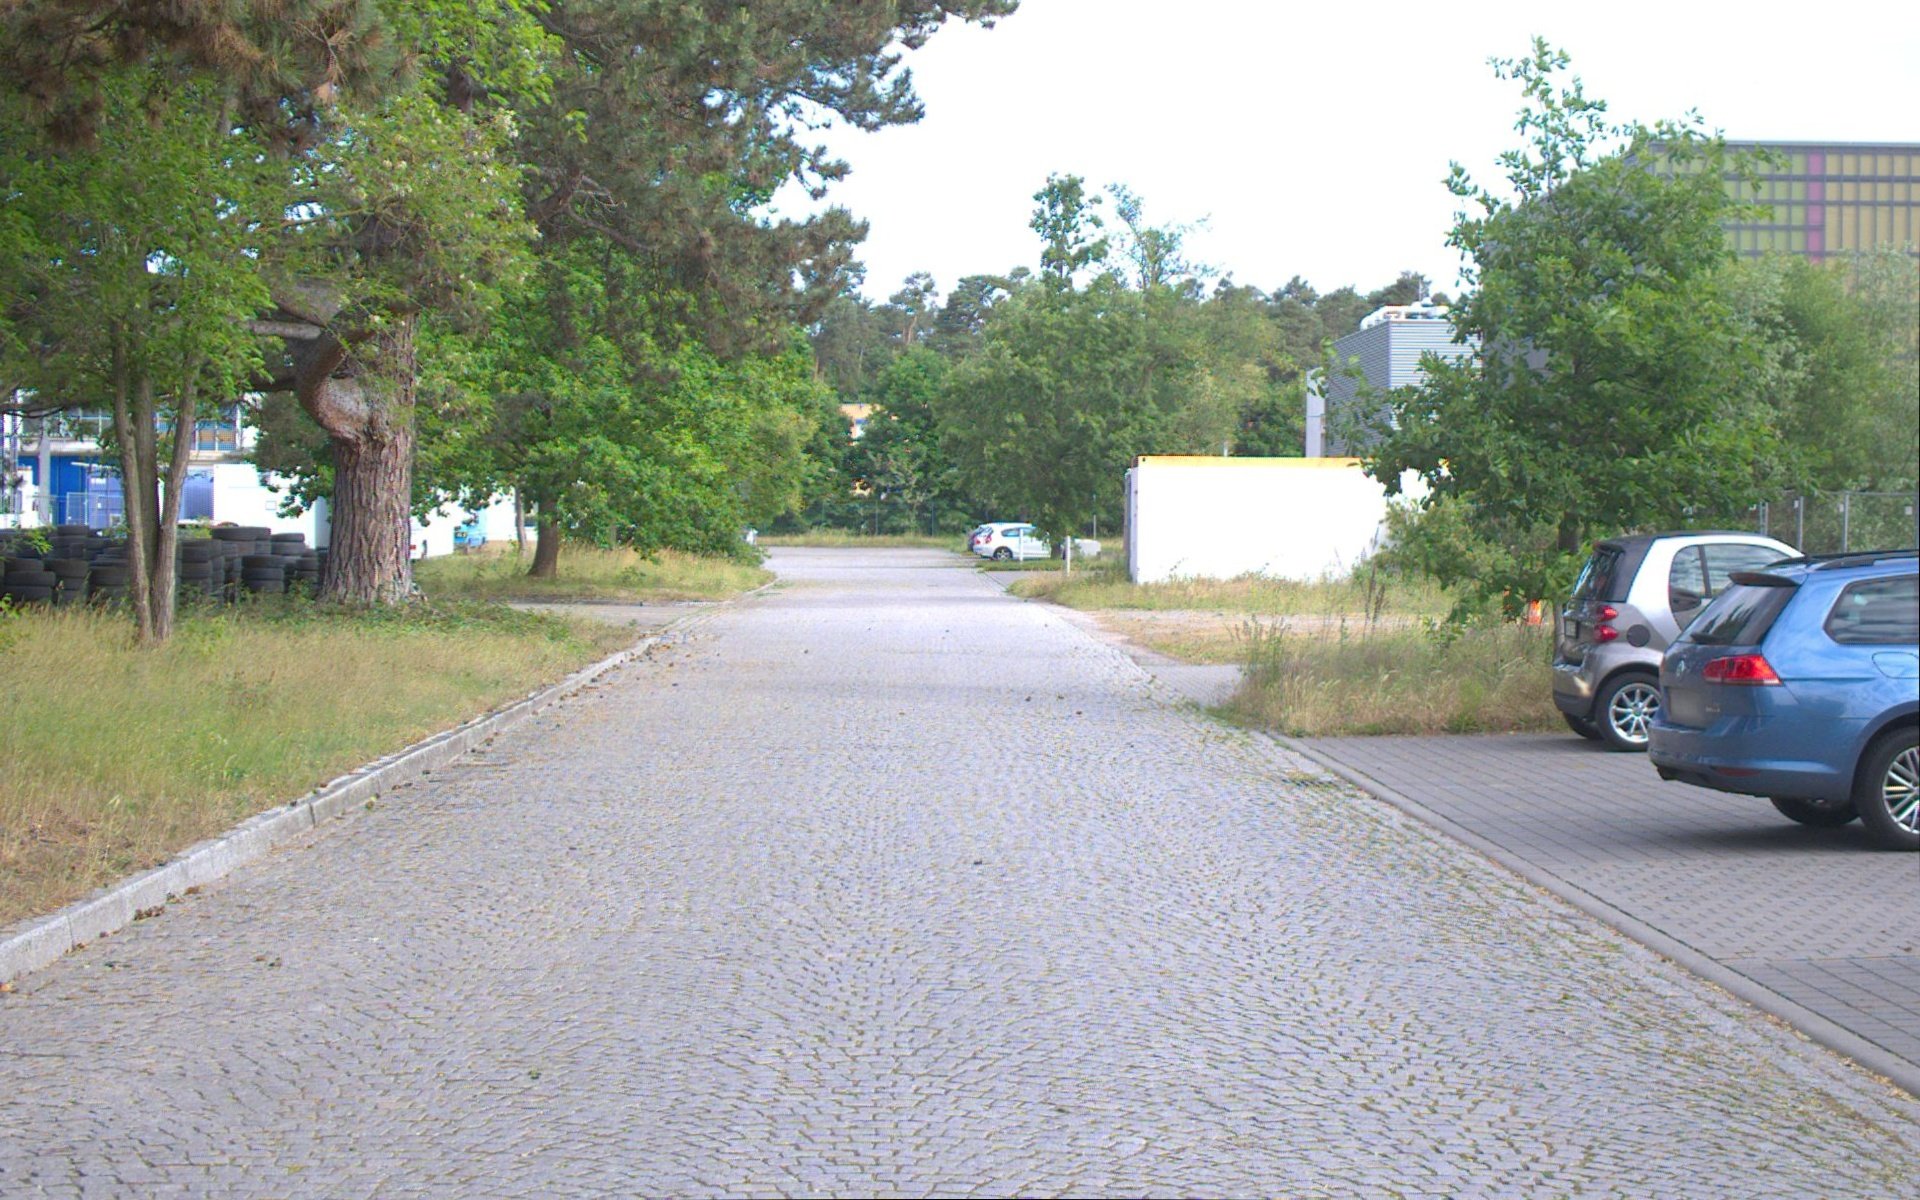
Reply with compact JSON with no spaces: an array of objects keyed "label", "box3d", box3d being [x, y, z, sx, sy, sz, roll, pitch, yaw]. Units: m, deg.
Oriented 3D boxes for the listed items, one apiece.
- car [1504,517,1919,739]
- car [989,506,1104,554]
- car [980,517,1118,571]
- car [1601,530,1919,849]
[{"label":"car","box3d":[6.434,0.165,25.308,4.517,1.526,2.000,-1,1,0]},{"label":"car","box3d":[3.313,-2.712,132.454,4.354,1.774,1.925,1,1,0]},{"label":"car","box3d":[2.860,-1.831,111.462,4.354,1.682,1.925,1,1,-2]},{"label":"car","box3d":[5.834,0.397,17.942,4.517,1.526,2.000,-1,2,-4]}]
